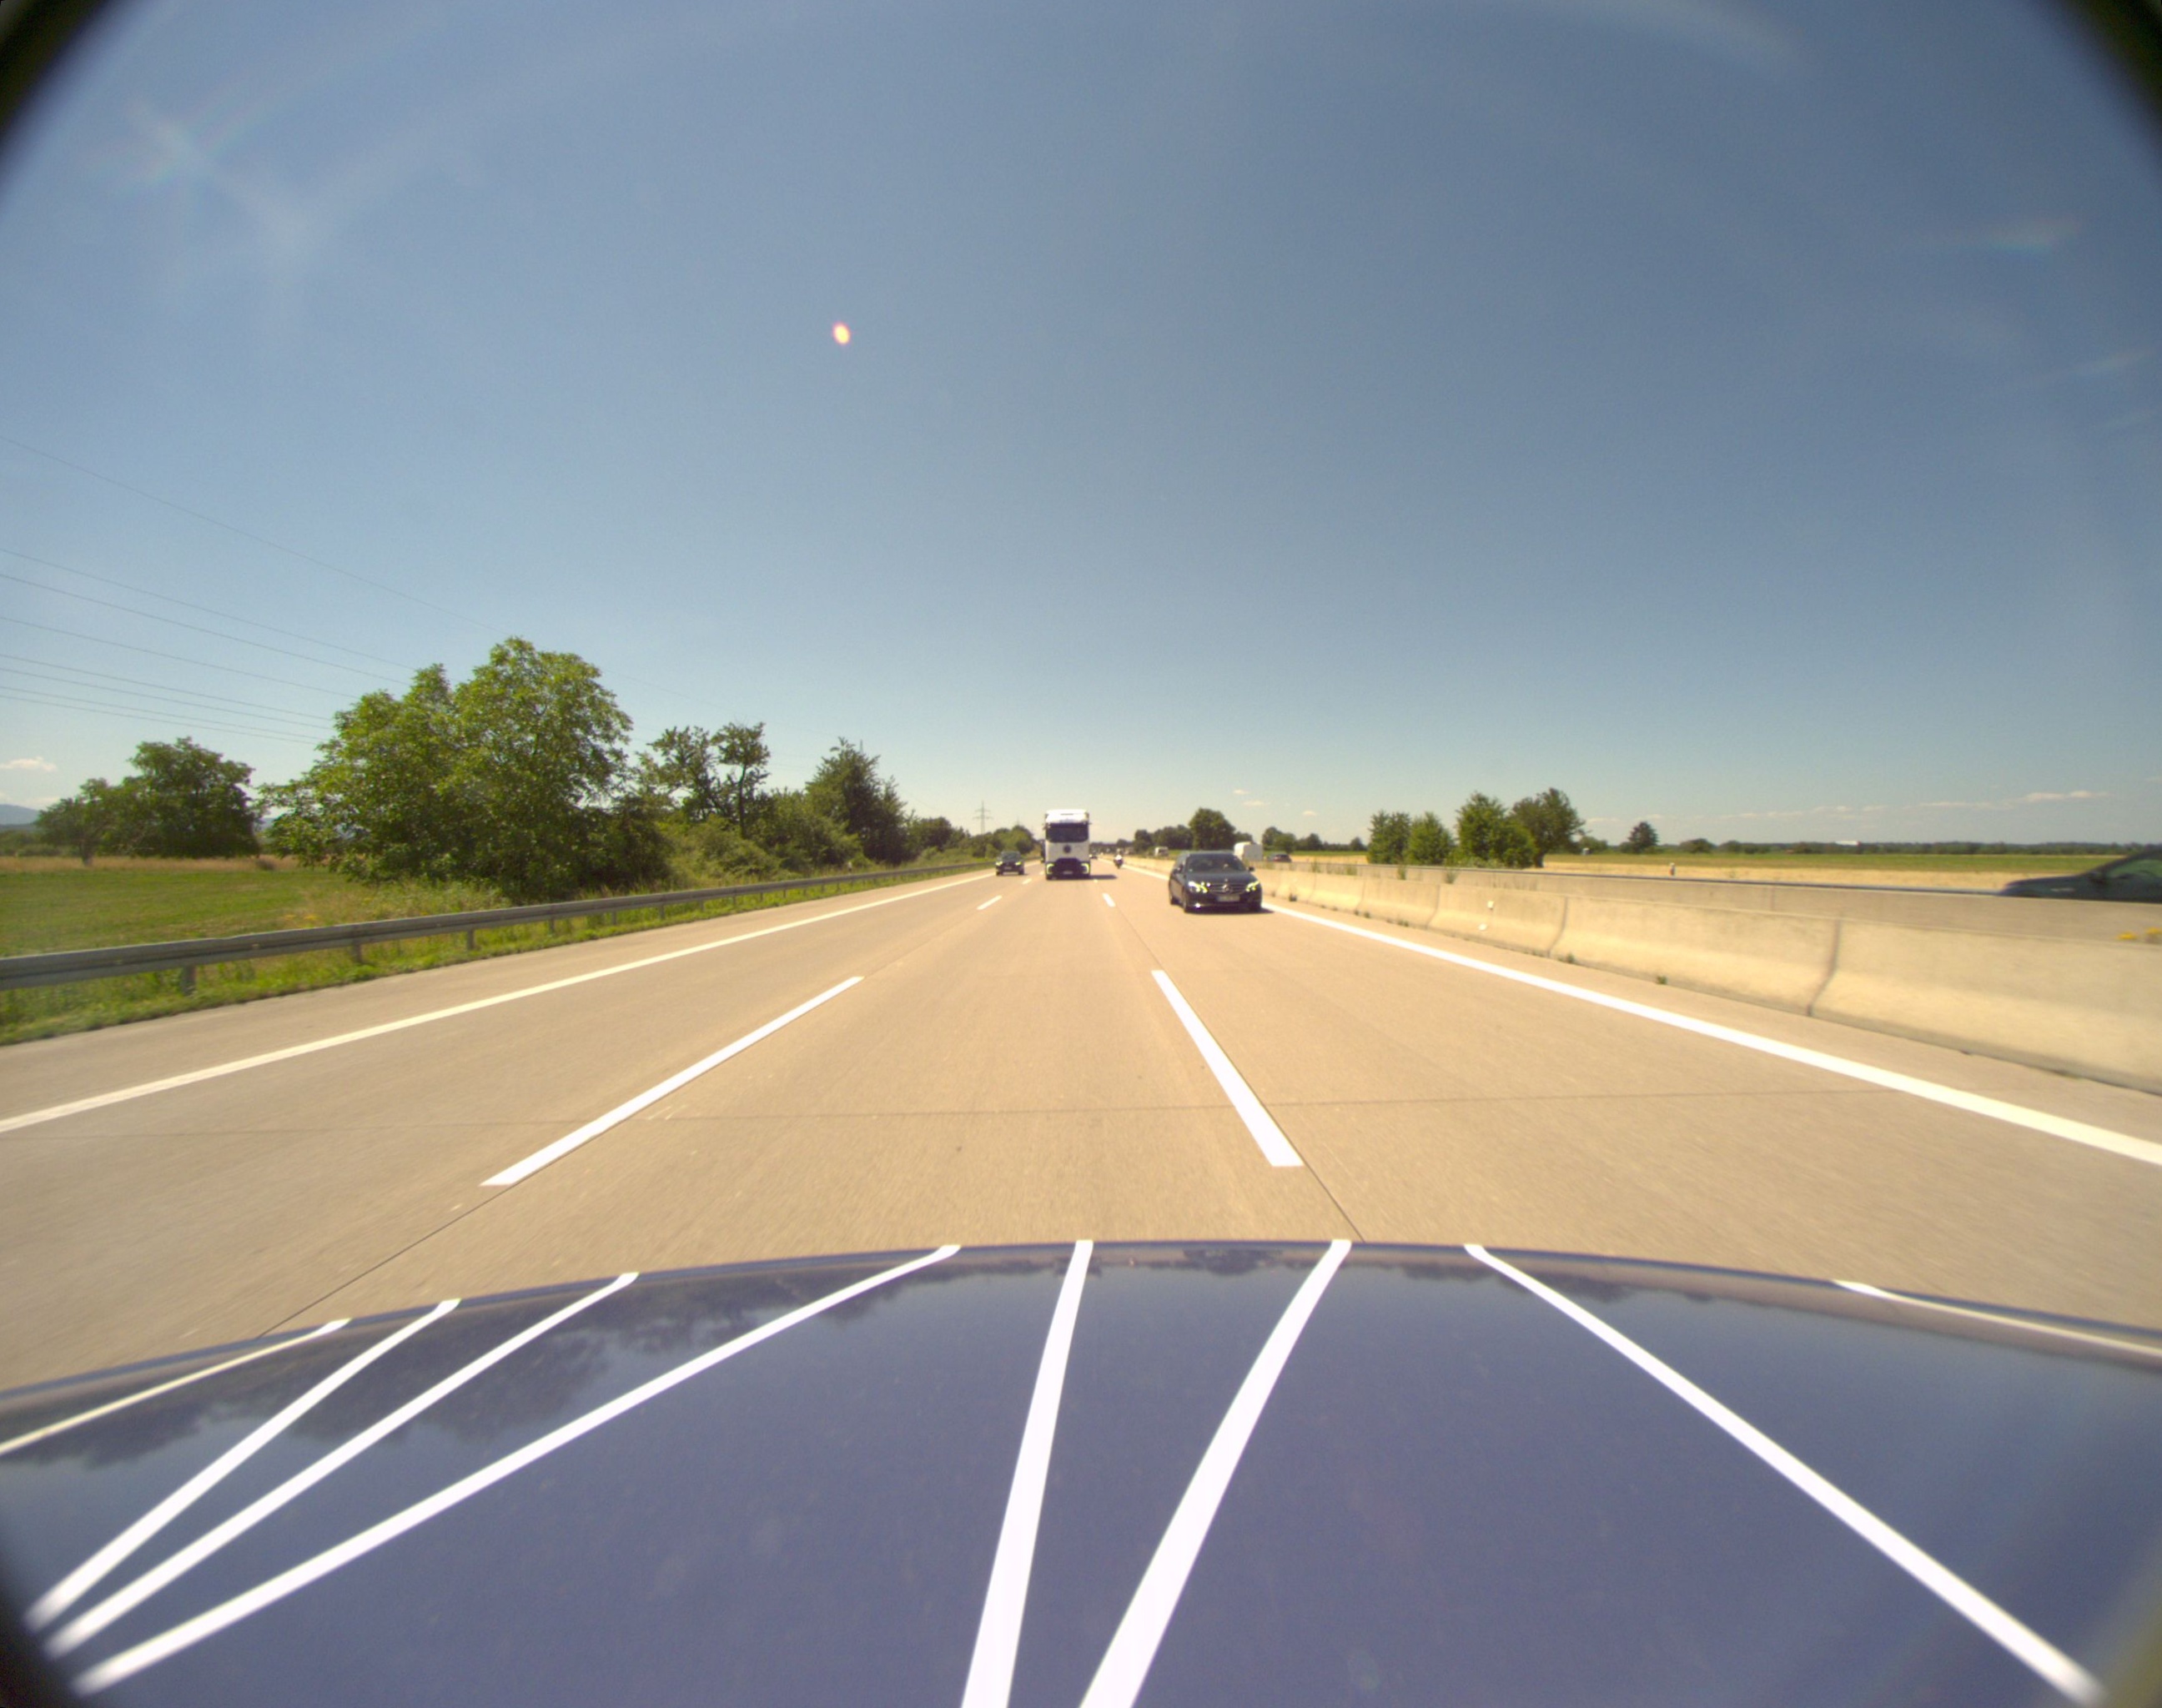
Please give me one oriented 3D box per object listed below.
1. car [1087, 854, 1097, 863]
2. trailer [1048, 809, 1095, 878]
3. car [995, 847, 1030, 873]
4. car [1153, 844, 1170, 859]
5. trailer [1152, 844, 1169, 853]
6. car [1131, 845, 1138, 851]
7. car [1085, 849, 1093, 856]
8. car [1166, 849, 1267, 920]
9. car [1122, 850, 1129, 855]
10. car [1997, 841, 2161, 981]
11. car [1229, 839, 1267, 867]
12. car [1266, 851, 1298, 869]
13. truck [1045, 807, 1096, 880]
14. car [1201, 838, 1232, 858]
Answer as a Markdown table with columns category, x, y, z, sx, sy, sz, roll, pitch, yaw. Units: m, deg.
| category | x | y | z | sx | sy | sz | roll | pitch | yaw |
| --- | --- | --- | --- | --- | --- | --- | --- | --- | --- |
| car | 2.238 | 0.848 | 152.899 | 1.998 | 1.781 | 4.300 | -2 | 0 | 0 |
| trailer | -0.627 | -0.636 | 49.071 | 2.587 | 3.855 | 10.371 | -2 | 0 | -1 |
| car | -4.974 | 0.435 | 55.414 | 1.998 | 1.772 | 4.000 | -2 | 0 | 2 |
| car | 15.572 | -0.552 | 147.201 | 2.269 | 2.772 | 7.070 | -2 | 0 | 0 |
| trailer | 15.532 | -1.079 | 148.886 | 2.243 | 1.735 | 10.543 | 1 | 0 | -1 |
| car | 16.450 | -1.776 | 233.425 | 1.998 | 1.867 | 5.184 | -2 | 0 | 1 |
| car | 2.351 | -0.477 | 218.358 | 1.999 | 1.827 | 4.815 | -2 | 0 | -3 |
| car | 3.343 | 0.696 | 19.444 | 1.848 | 1.576 | 3.939 | -2 | 0 | 0 |
| car | 14.969 | -0.585 | 255.730 | 1.998 | 1.707 | 4.613 | -2 | 0 | 1 |
| car | 16.013 | 0.794 | 10.268 | 1.998 | 1.903 | 4.402 | -2 | 0 | 2 |
| car | 15.828 | -0.141 | 72.288 | 2.218 | 2.505 | 6.123 | -2 | 0 | 0 |
| car | 19.586 | 0.575 | 74.110 | 1.758 | 1.674 | 4.841 | -2 | 0 | 0 |
| truck | -0.598 | -0.597 | 43.357 | 2.587 | 3.855 | 4.983 | -2 | 1 | -1 |
| car | 11.969 | -0.511 | 67.256 | 1.998 | 1.608 | 4.588 | -2 | 0 | 2 |
